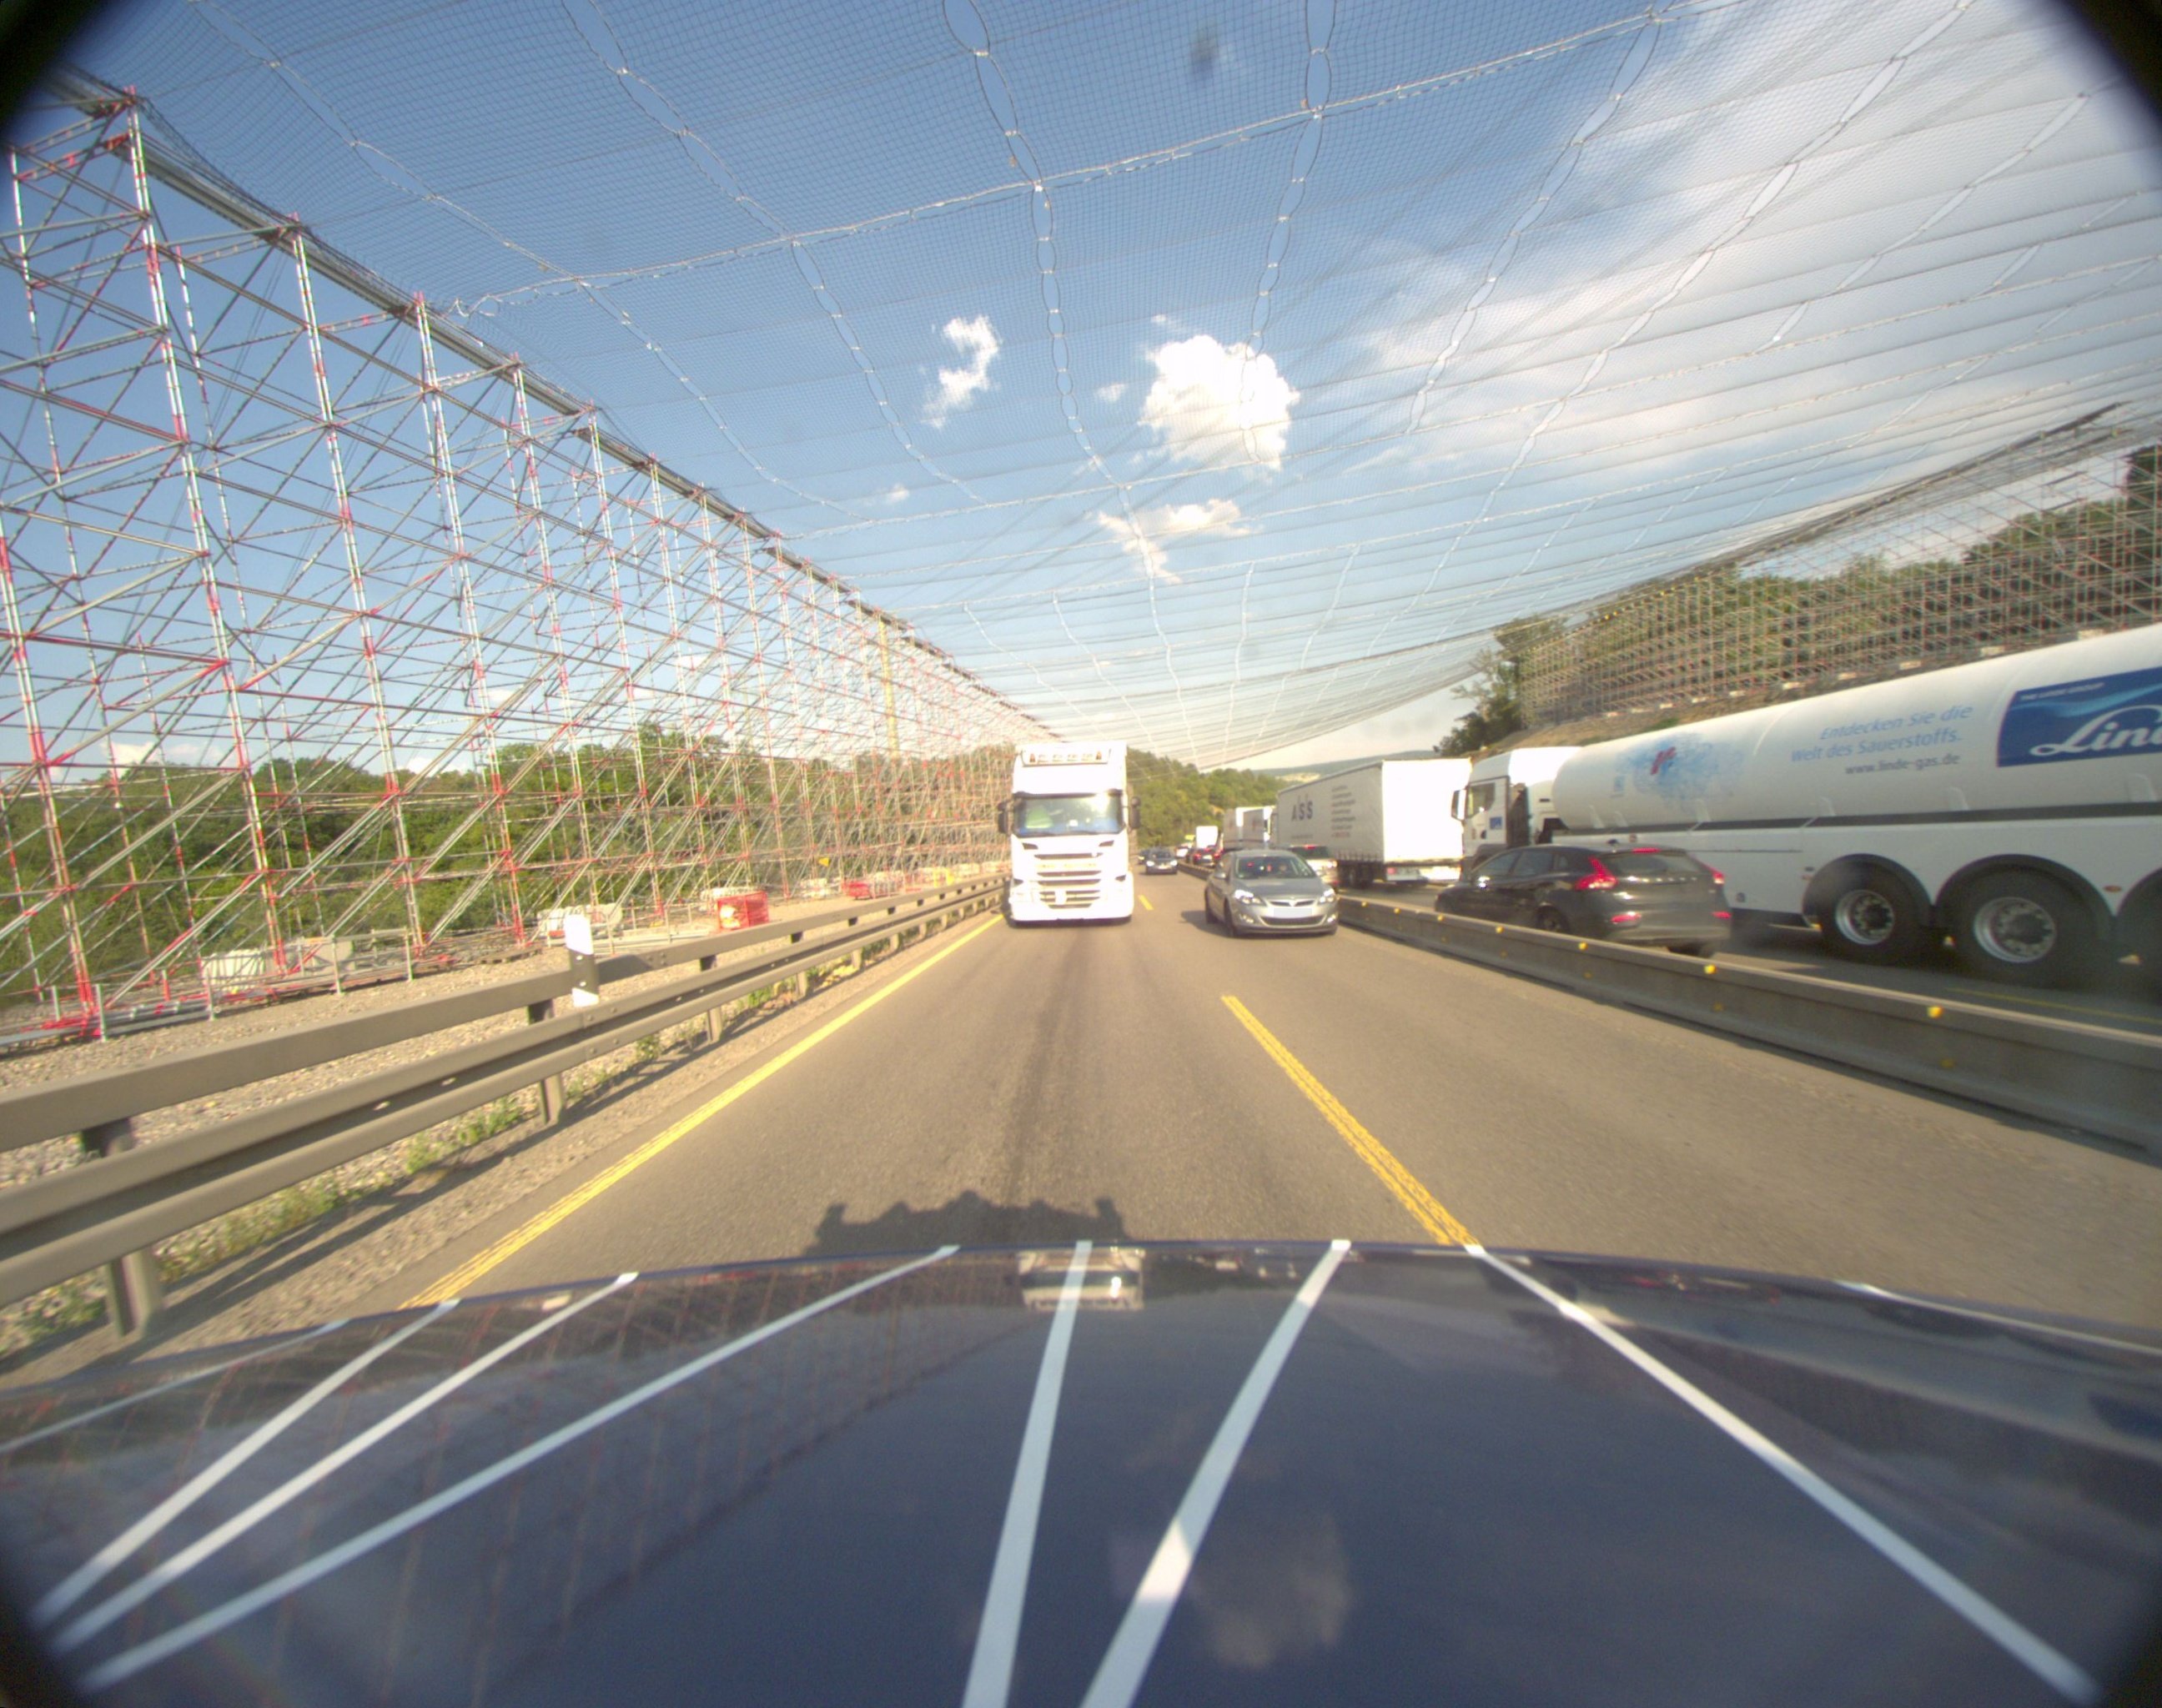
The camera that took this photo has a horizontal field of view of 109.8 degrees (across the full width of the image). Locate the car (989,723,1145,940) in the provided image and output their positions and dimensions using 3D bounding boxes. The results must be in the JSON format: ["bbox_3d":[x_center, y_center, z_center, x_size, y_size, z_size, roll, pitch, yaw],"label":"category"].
[{"bbox_3d":[-0.255,-0.496,18.816,2.858,4.092,8.279,-2,1,0],"label":"car"}]

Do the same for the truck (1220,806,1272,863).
[{"bbox_3d":[12.016,-1.400,56.052,2.637,3.888,7.205,-2,1,4],"label":"truck"}]

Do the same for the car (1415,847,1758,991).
[{"bbox_3d":[6.226,0.659,10.097,1.631,1.418,4.387,-2,1,0],"label":"car"}]

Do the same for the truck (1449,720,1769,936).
[{"bbox_3d":[9.730,-0.448,14.844,2.419,3.351,5.617,-2,1,2],"label":"truck"}]

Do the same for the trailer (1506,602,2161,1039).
[{"bbox_3d":[9.507,-0.339,9.123,2.312,3.342,12.051,-2,1,2],"label":"trailer"}]

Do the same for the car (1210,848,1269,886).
[{"bbox_3d":[6.612,0.514,32.002,1.798,1.390,4.244,-2,1,3],"label":"car"}]

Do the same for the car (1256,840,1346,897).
[{"bbox_3d":[6.729,0.373,23.660,1.755,1.578,3.943,-2,1,2],"label":"car"}]

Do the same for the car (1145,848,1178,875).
[{"bbox_3d":[4.609,0.405,43.623,1.764,1.376,3.823,-2,1,5],"label":"car"}]

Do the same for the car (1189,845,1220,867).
[{"bbox_3d":[8.323,0.114,51.446,1.611,1.368,3.900,-2,1,2],"label":"car"}]

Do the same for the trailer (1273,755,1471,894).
[{"bbox_3d":[10.211,-0.965,29.013,2.433,3.940,14.097,-2,1,2],"label":"trailer"}]

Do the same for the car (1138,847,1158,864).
[{"bbox_3d":[6.078,0.094,68.780,1.675,1.376,3.823,-2,1,5],"label":"car"}]

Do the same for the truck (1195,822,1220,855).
[{"bbox_3d":[17.575,-2.135,106.195,2.727,4.203,14.173,-2,1,7],"label":"truck"}]

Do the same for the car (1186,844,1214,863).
[{"bbox_3d":[9.925,-0.067,63.589,1.781,1.442,4.663,-2,1,3],"label":"car"}]

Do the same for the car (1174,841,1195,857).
[{"bbox_3d":[11.089,-0.537,81.549,1.812,1.559,4.366,-2,1,3],"label":"car"}]

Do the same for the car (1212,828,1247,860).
[{"bbox_3d":[13.306,-0.894,68.439,2.246,2.697,7.083,-2,1,5],"label":"car"}]

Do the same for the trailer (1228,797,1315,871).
[{"bbox_3d":[11.693,-1.193,48.137,2.676,3.992,13.333,-2,1,3],"label":"trailer"}]

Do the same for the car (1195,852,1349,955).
[{"bbox_3d":[3.251,0.754,13.792,1.760,1.464,4.352,-2,1,1],"label":"car"}]

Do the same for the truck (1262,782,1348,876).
[{"bbox_3d":[10.410,-1.127,35.869,2.479,4.023,5.617,-2,1,2],"label":"truck"}]
